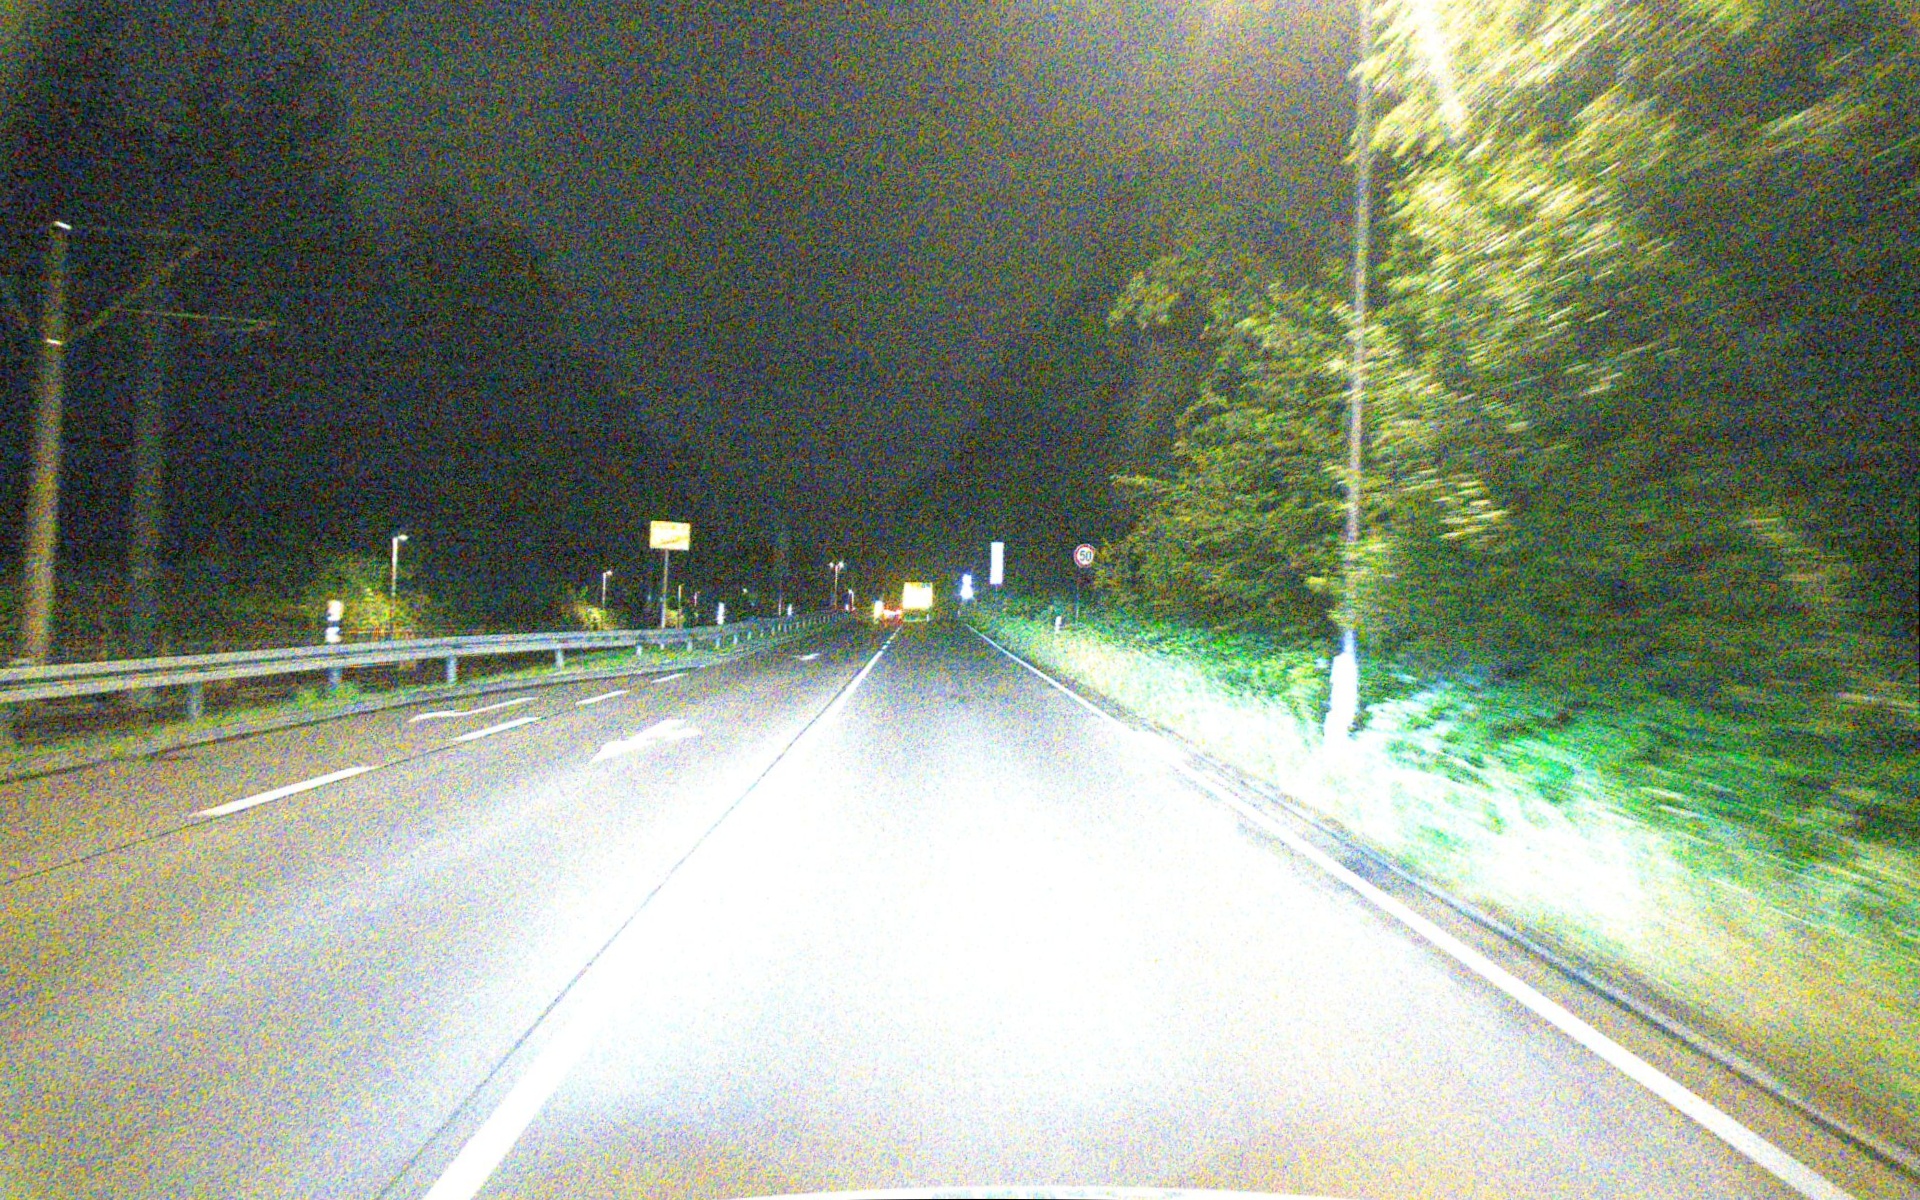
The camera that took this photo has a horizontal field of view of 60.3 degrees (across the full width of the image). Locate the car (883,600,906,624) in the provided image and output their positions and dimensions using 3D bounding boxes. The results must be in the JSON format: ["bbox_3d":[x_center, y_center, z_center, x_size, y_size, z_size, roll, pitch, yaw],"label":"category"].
[{"bbox_3d":[-6.248,1.169,157.387,1.954,2.049,3.996,3,-3,-4],"label":"car"}]
